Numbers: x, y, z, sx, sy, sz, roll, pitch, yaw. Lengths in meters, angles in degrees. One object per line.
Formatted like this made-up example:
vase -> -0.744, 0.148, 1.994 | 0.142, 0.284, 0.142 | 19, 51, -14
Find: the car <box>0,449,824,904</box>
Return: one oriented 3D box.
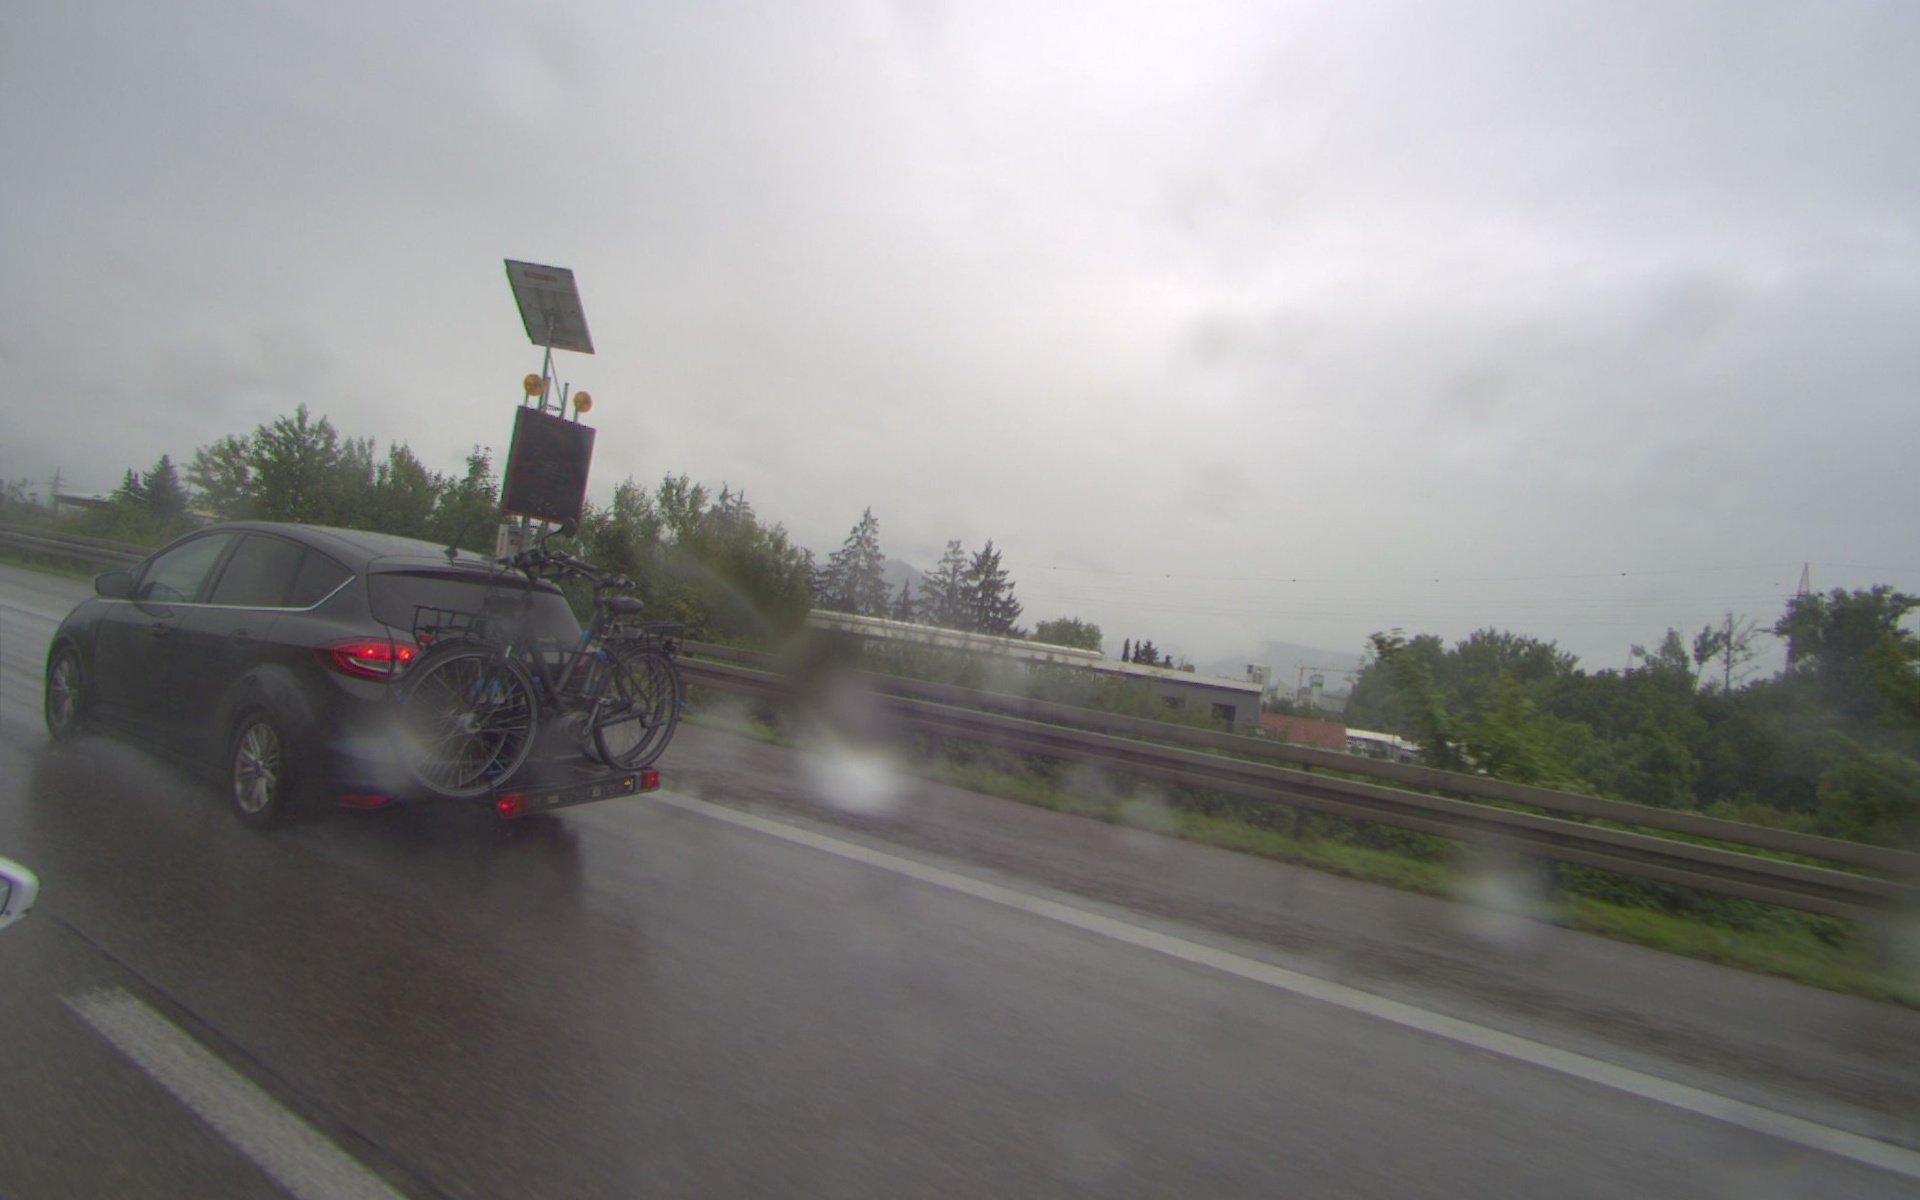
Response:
car -> -3.948, 0.209, 6.646 | 5.624, 1.766, 2.462 | 7, -2, 32
